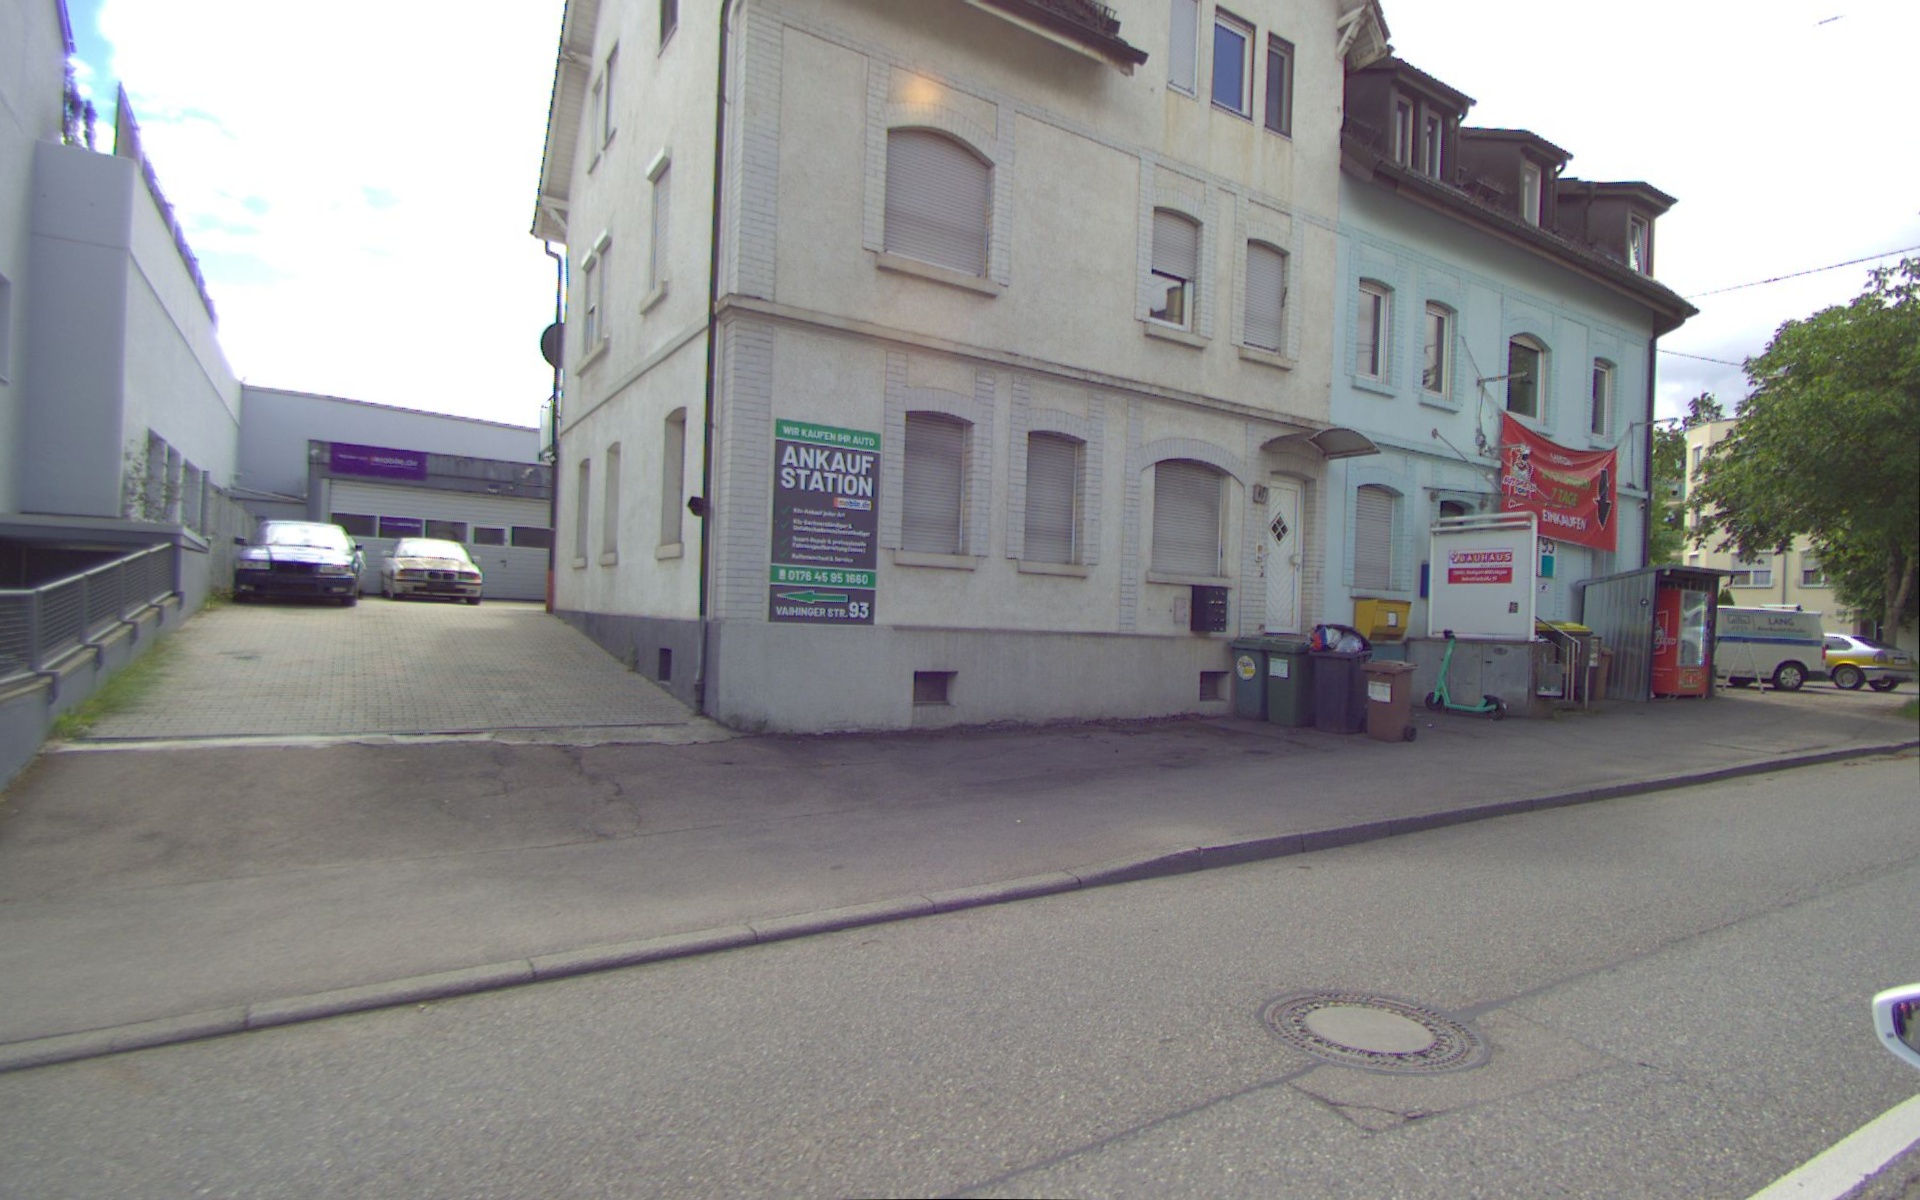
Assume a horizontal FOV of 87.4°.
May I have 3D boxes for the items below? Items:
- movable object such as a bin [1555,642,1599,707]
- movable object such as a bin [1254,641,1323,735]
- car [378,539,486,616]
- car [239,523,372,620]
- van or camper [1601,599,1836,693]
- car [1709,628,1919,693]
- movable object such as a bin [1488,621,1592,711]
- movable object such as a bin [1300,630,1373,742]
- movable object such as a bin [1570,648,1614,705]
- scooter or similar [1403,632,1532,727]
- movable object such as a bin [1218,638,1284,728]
[{"bbox_3d":[10.519,1.262,17.128,0.512,1.054,0.430,2,0,-34],"label":"movable object such as a bin"},{"bbox_3d":[4.163,1.102,12.730,0.558,1.116,0.560,2,1,-36],"label":"movable object such as a bin"},{"bbox_3d":[-11.374,-0.510,21.525,1.686,1.420,3.717,4,1,-33],"label":"car"},{"bbox_3d":[-10.922,-0.498,16.859,1.685,1.421,3.717,1,2,-32],"label":"car"},{"bbox_3d":[18.514,1.099,24.663,4.291,2.020,1.791,2,-1,3],"label":"van or camper"},{"bbox_3d":[22.488,1.544,26.542,1.788,1.432,4.011,3,-1,-19],"label":"car"},{"bbox_3d":[9.569,1.076,16.578,1.234,1.373,1.013,2,0,-34],"label":"movable object such as a bin"},{"bbox_3d":[4.581,1.025,12.230,0.558,1.290,0.560,1,2,-36],"label":"movable object such as a bin"},{"bbox_3d":[10.995,1.325,17.480,0.512,0.945,0.443,2,0,-34],"label":"movable object such as a bin"},{"bbox_3d":[7.199,1.095,14.307,0.540,1.200,1.545,2,0,-31],"label":"scooter or similar"},{"bbox_3d":[3.822,1.075,13.215,0.558,1.116,0.560,2,1,-36],"label":"movable object such as a bin"}]
